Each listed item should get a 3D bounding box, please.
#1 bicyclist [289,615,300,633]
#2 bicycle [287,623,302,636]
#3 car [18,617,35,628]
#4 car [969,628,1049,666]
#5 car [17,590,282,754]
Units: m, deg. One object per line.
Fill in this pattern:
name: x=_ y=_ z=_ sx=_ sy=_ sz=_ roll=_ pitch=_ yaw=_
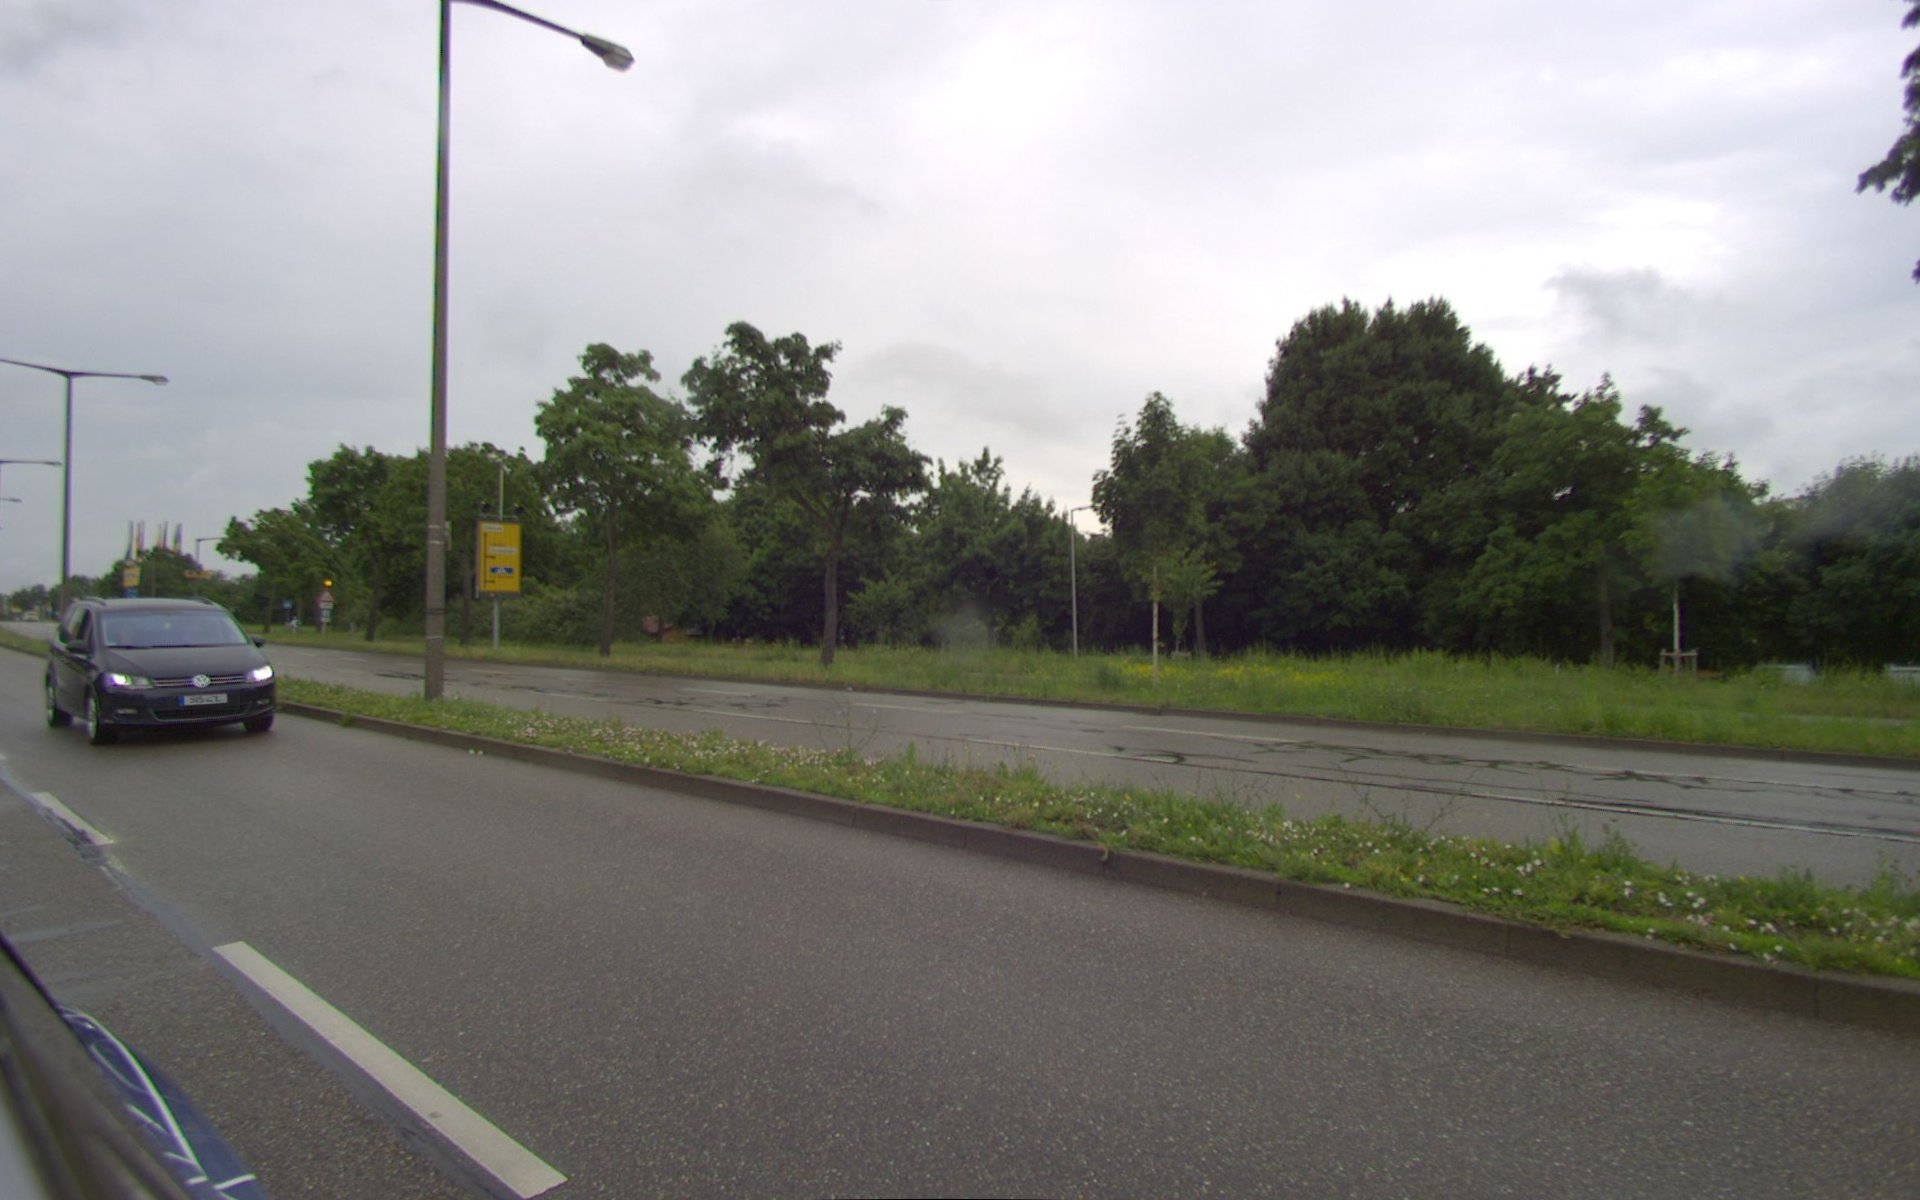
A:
bicyclist: x=-48.665 y=1.780 z=73.994 sx=0.808 sy=1.312 sz=0.516 roll=-1 pitch=-1 yaw=43
bicycle: x=-48.667 y=2.165 z=73.992 sx=1.634 sy=0.892 sz=0.516 roll=-1 pitch=-1 yaw=44
car: x=-152.776 y=3.671 z=165.630 sx=4.492 sy=1.642 sz=1.688 roll=-4 pitch=-6 yaw=43
car: x=2.348 y=2.189 z=48.056 sx=1.996 sy=1.698 sz=3.952 roll=-1 pitch=-2 yaw=35
car: x=-10.664 y=0.834 z=13.180 sx=4.814 sy=1.764 sz=1.827 roll=-2 pitch=-1 yaw=40
